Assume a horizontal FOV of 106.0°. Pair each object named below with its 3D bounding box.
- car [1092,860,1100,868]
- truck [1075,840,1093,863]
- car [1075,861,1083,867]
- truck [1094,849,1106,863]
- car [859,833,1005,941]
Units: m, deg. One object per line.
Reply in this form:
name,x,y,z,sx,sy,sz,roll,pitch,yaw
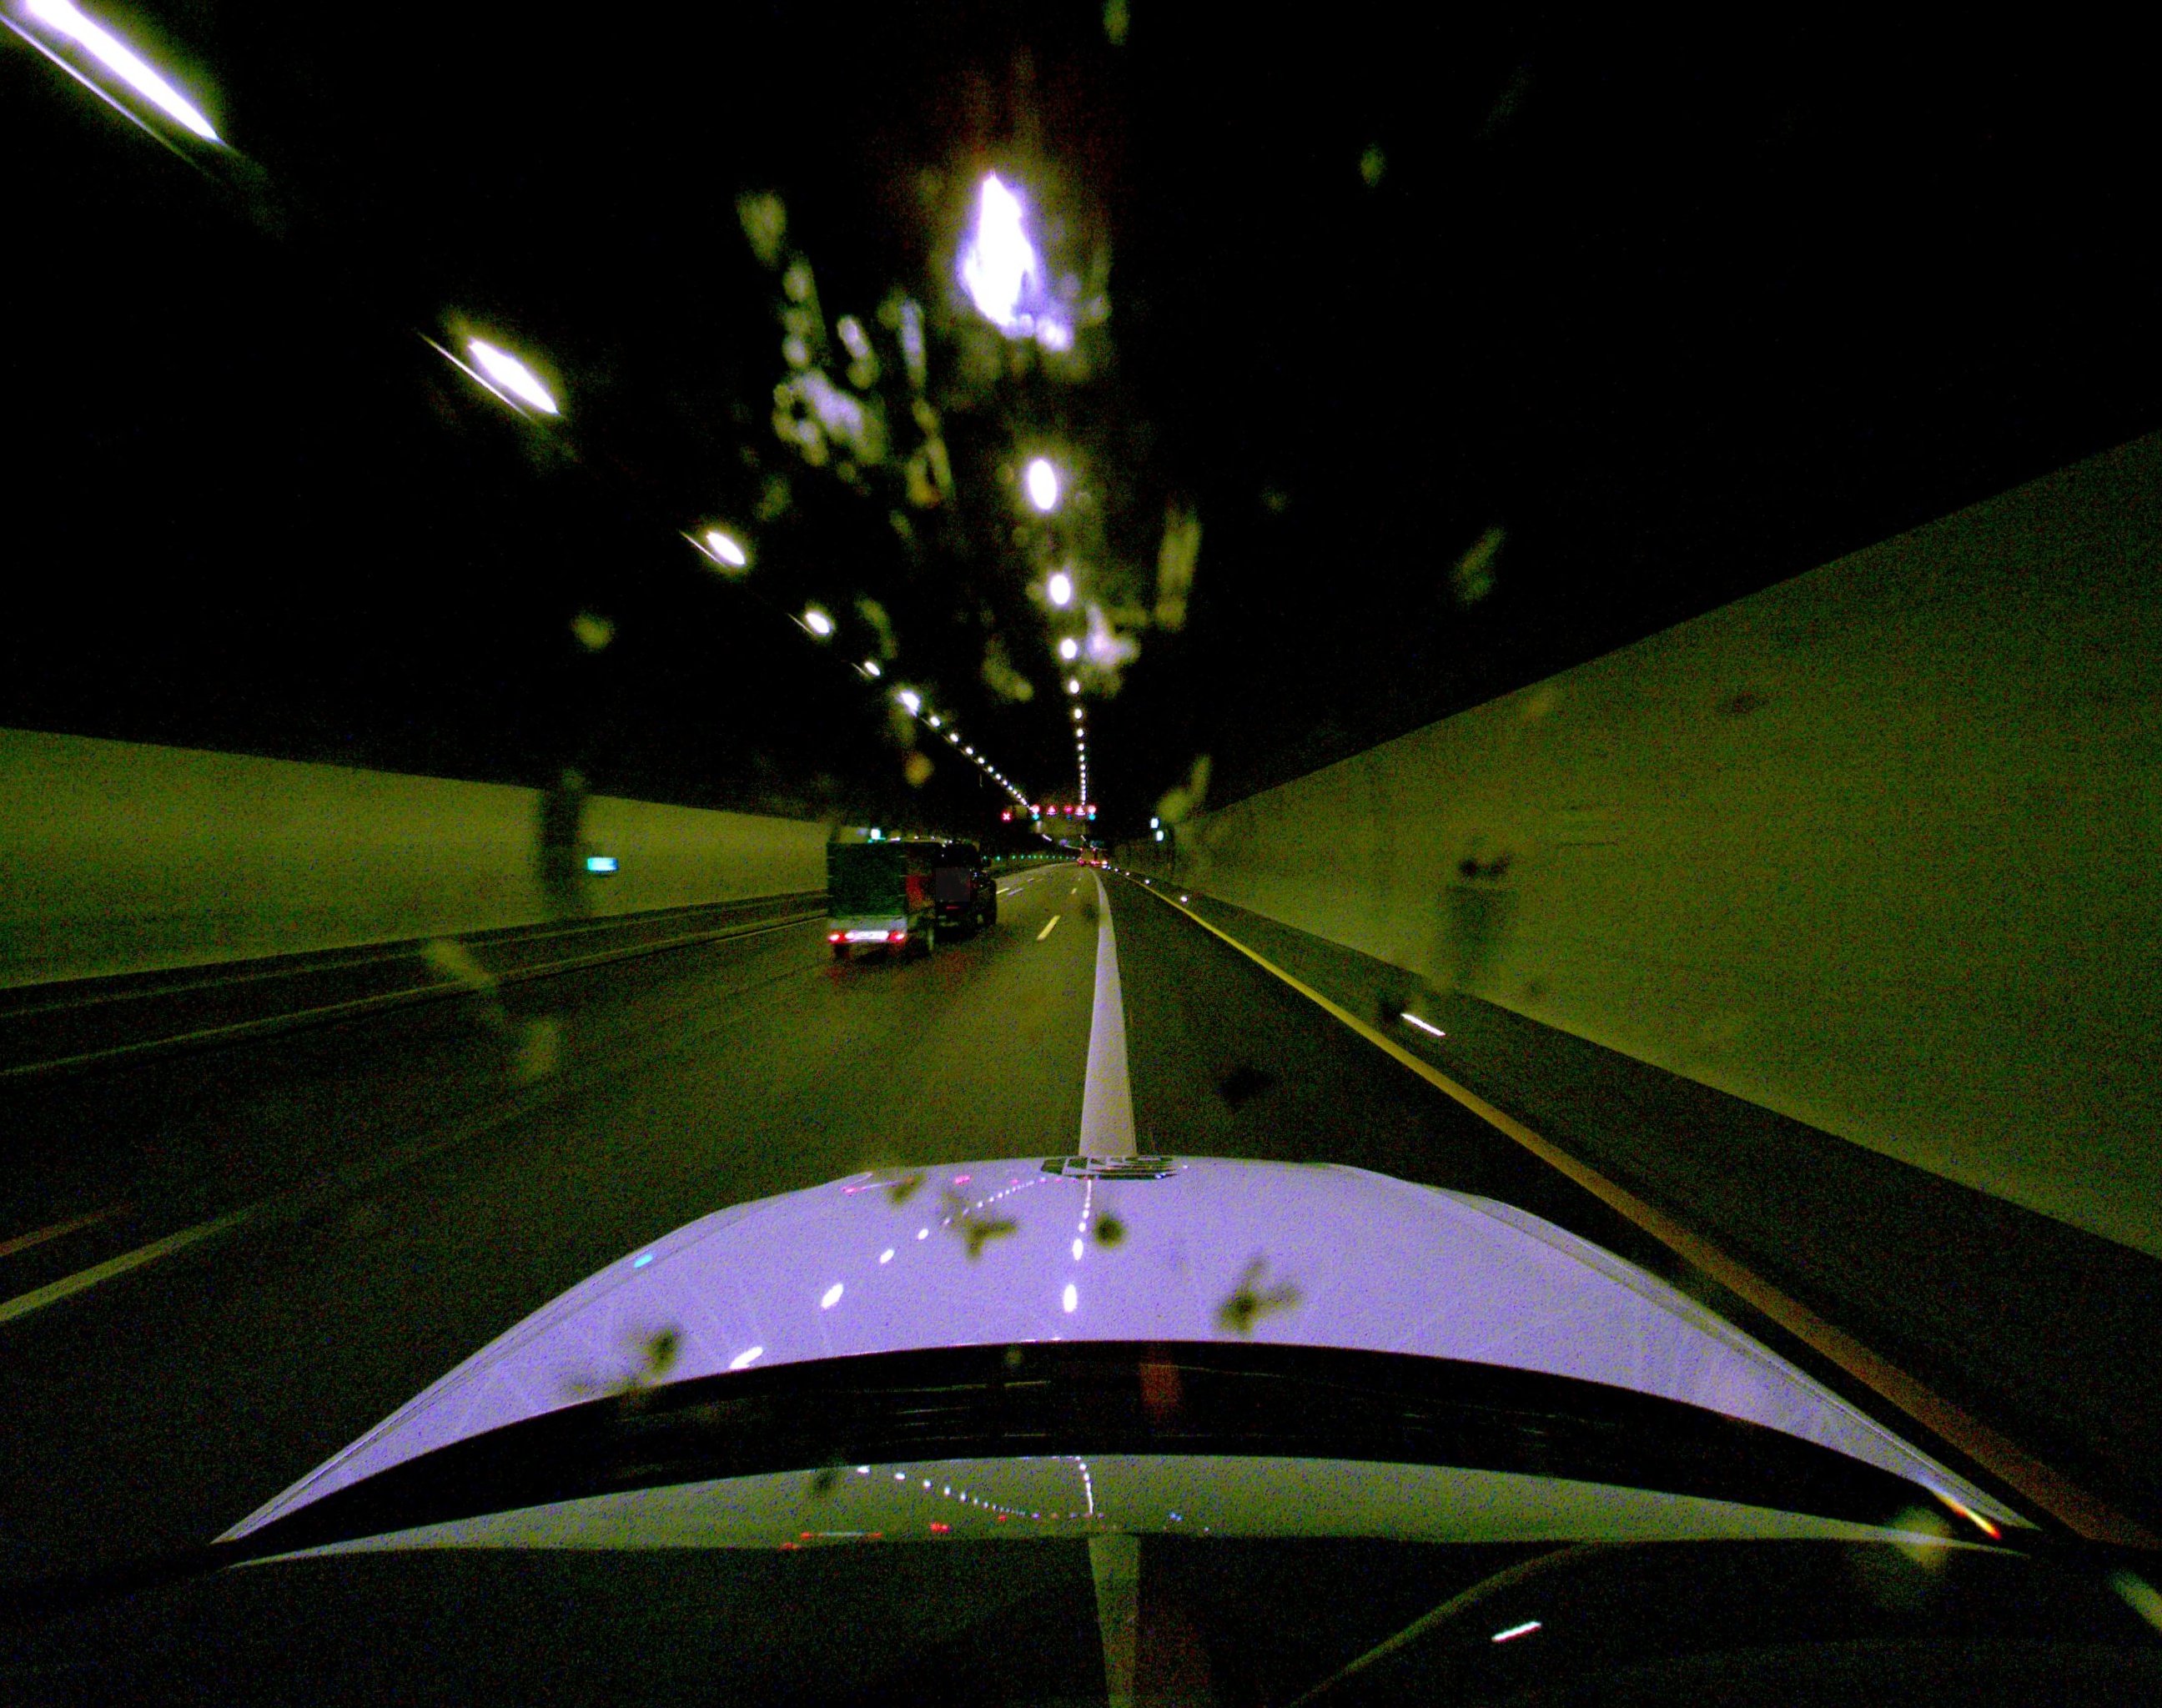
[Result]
car,4.124,2.712,221.947,1.984,1.895,5.540,0,0,5
truck,0.650,-0.486,161.722,3.463,4.316,10.950,0,0,0
car,-0.601,2.846,221.722,1.987,1.582,3.999,0,0,-1
truck,5.905,0.647,259.969,3.463,4.316,10.950,-1,0,0
car,-2.926,0.588,17.315,1.987,1.895,5.454,-1,0,1
